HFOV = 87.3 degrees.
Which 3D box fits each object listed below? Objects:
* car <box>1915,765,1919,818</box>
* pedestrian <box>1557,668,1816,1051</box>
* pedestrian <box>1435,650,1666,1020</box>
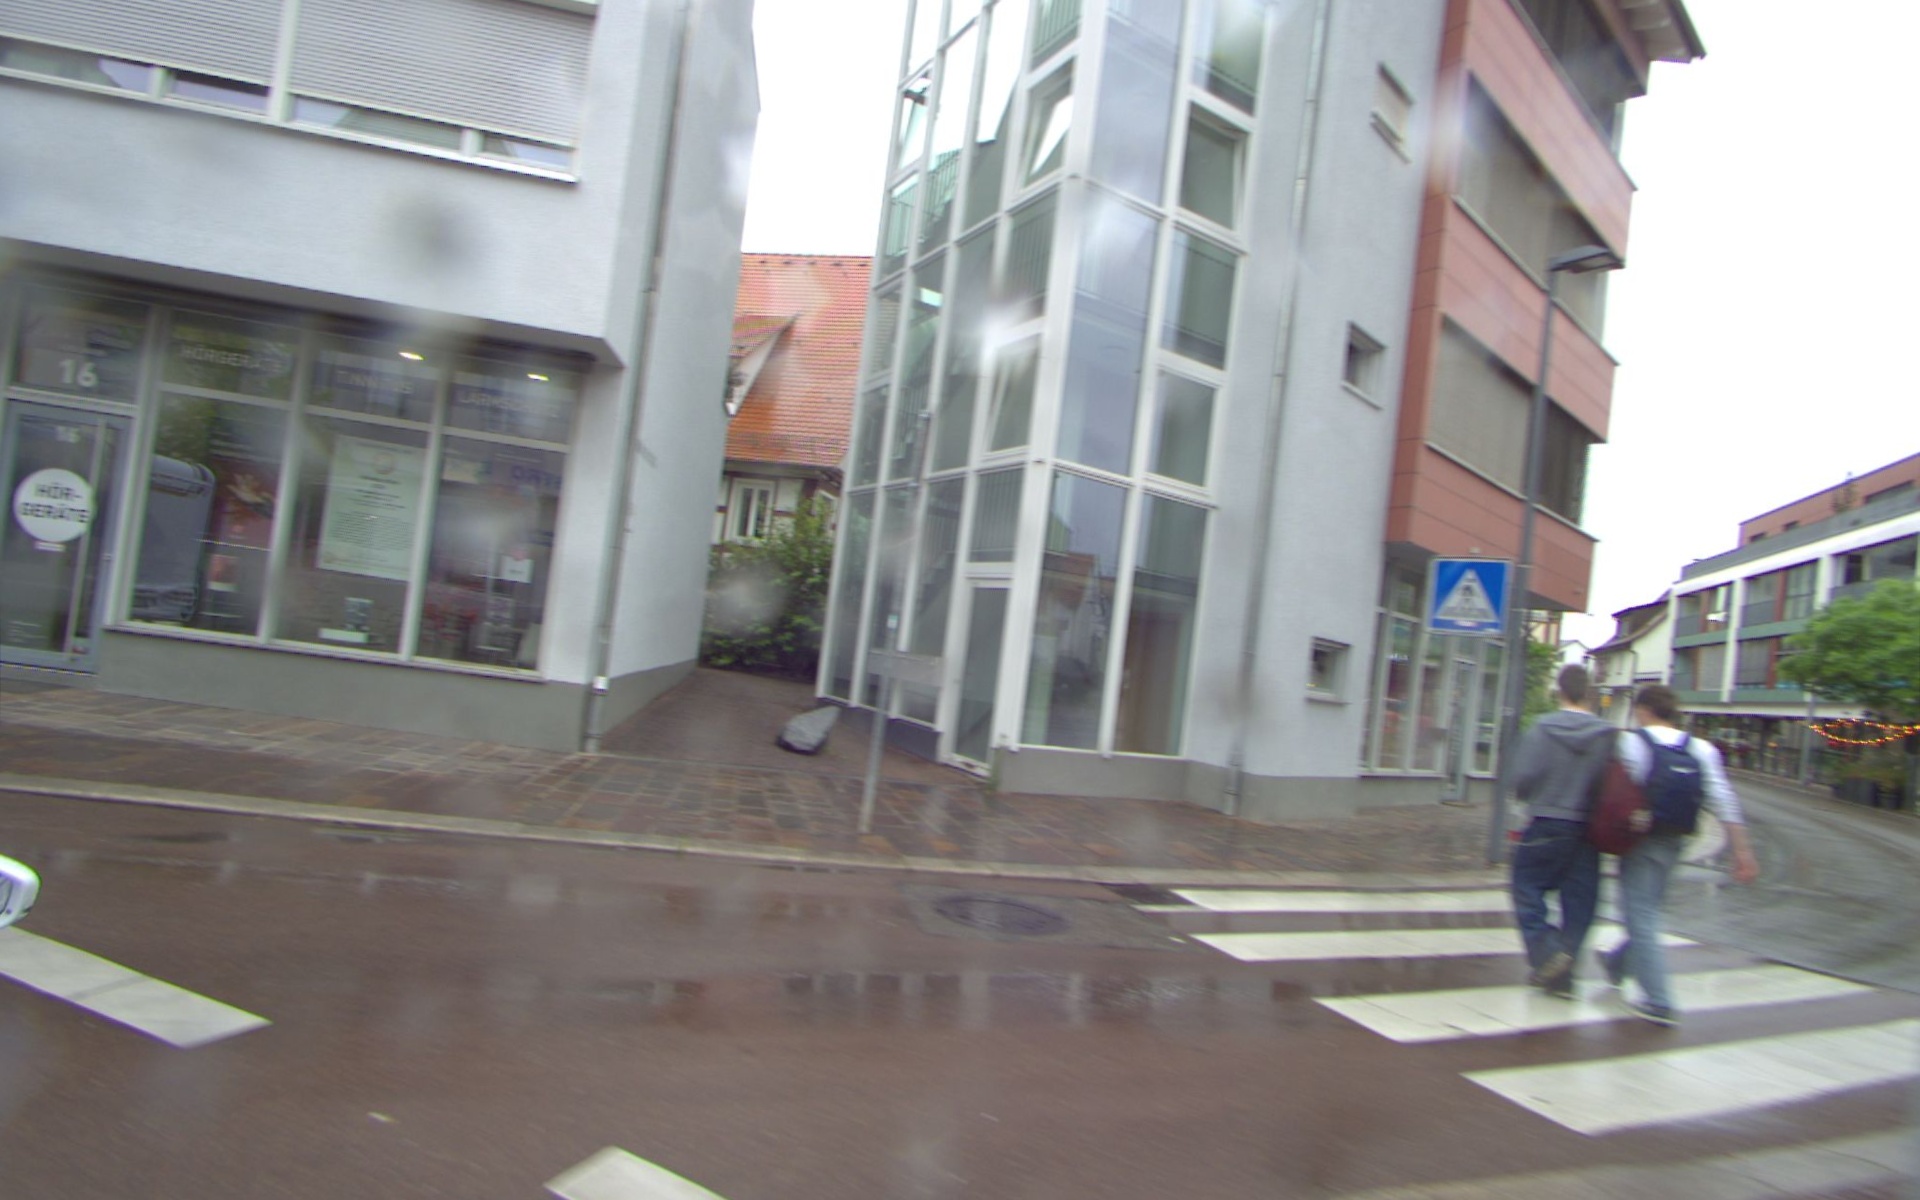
[{"bbox_3d":[26.442,5.182,25.780,1.592,1.429,3.999,3,-3,25],"label":"car"},{"bbox_3d":[3.969,1.332,5.597,0.653,1.827,1.062,6,-2,12],"label":"pedestrian"},{"bbox_3d":[3.312,1.246,5.754,0.681,1.821,1.060,6,-2,12],"label":"pedestrian"}]
